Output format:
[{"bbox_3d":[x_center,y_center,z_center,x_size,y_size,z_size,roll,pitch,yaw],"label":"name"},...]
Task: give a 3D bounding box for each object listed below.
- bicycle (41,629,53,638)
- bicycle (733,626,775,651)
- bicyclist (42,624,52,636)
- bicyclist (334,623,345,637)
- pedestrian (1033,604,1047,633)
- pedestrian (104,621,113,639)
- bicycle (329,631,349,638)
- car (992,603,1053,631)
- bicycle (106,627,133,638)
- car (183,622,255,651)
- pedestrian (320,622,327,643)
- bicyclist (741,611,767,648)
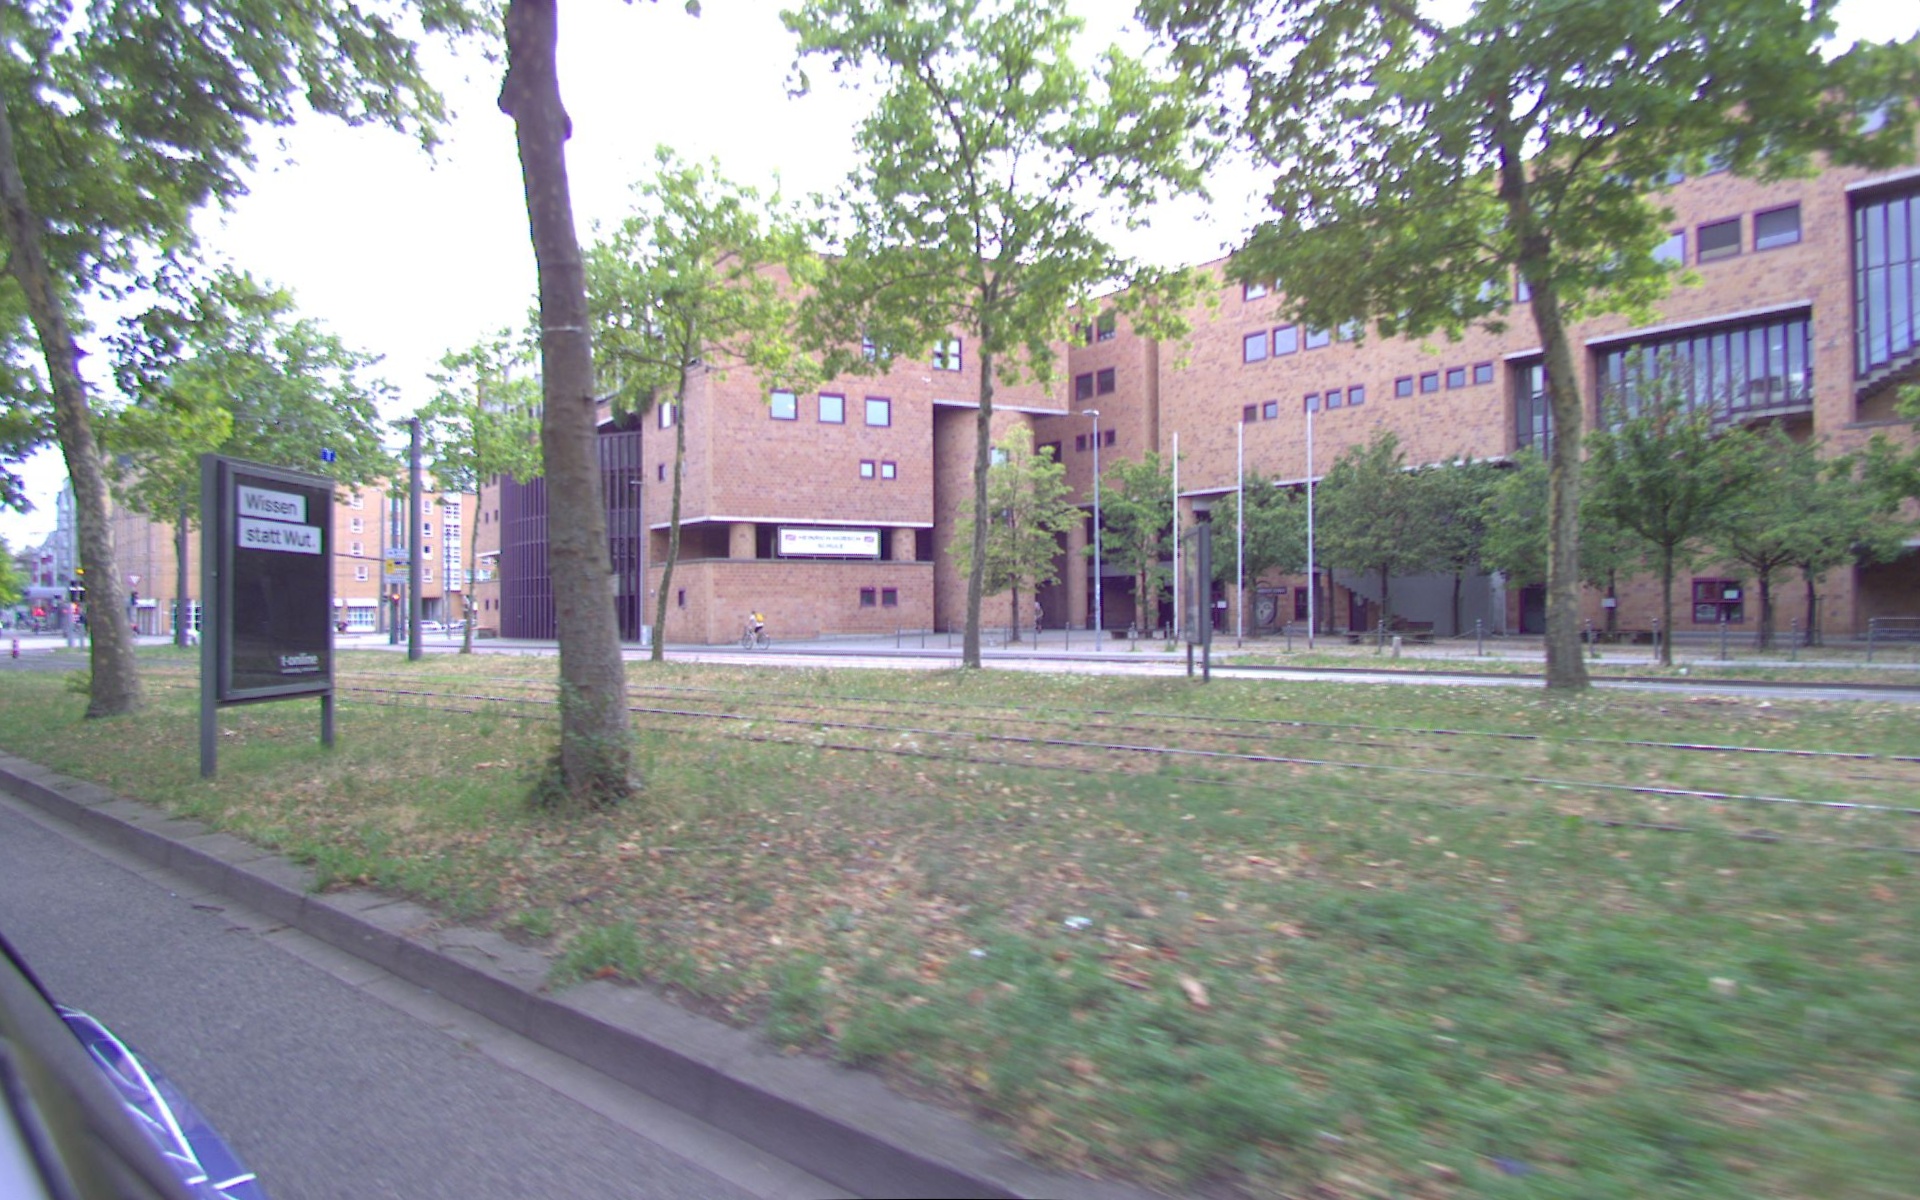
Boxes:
[{"bbox_3d":[-110.261,4.041,122.203,1.888,0.943,0.651,-1,-1,34],"label":"bicycle"},{"bbox_3d":[-9.112,1.684,44.767,2.092,1.092,0.661,-2,-1,41],"label":"bicycle"},{"bbox_3d":[-110.271,3.608,122.217,0.815,1.512,0.644,-1,-1,33],"label":"bicyclist"},{"bbox_3d":[-66.701,3.242,108.798,0.635,1.512,0.855,-1,-1,35],"label":"bicyclist"},{"bbox_3d":[4.396,1.011,55.663,0.500,1.543,0.521,0,-2,-37],"label":"pedestrian"},{"bbox_3d":[-83.262,2.924,98.912,0.534,1.719,0.557,-1,-1,38],"label":"pedestrian"},{"bbox_3d":[-66.725,3.686,108.756,0.638,0.787,1.775,-1,-1,35],"label":"bicycle"},{"bbox_3d":[4.175,1.140,68.002,1.869,1.821,4.006,0,-1,-41],"label":"car"},{"bbox_3d":[-82.011,3.152,98.749,2.029,1.016,0.641,1,-1,-43],"label":"bicycle"},{"bbox_3d":[-38.979,1.902,53.218,4.649,1.432,1.767,-2,-2,37],"label":"car"},{"bbox_3d":[-62.111,3.180,98.714,0.516,2.029,0.447,0,-1,-38],"label":"pedestrian"},{"bbox_3d":[-9.105,1.301,44.777,0.983,1.603,0.657,-2,-2,41],"label":"bicyclist"}]
